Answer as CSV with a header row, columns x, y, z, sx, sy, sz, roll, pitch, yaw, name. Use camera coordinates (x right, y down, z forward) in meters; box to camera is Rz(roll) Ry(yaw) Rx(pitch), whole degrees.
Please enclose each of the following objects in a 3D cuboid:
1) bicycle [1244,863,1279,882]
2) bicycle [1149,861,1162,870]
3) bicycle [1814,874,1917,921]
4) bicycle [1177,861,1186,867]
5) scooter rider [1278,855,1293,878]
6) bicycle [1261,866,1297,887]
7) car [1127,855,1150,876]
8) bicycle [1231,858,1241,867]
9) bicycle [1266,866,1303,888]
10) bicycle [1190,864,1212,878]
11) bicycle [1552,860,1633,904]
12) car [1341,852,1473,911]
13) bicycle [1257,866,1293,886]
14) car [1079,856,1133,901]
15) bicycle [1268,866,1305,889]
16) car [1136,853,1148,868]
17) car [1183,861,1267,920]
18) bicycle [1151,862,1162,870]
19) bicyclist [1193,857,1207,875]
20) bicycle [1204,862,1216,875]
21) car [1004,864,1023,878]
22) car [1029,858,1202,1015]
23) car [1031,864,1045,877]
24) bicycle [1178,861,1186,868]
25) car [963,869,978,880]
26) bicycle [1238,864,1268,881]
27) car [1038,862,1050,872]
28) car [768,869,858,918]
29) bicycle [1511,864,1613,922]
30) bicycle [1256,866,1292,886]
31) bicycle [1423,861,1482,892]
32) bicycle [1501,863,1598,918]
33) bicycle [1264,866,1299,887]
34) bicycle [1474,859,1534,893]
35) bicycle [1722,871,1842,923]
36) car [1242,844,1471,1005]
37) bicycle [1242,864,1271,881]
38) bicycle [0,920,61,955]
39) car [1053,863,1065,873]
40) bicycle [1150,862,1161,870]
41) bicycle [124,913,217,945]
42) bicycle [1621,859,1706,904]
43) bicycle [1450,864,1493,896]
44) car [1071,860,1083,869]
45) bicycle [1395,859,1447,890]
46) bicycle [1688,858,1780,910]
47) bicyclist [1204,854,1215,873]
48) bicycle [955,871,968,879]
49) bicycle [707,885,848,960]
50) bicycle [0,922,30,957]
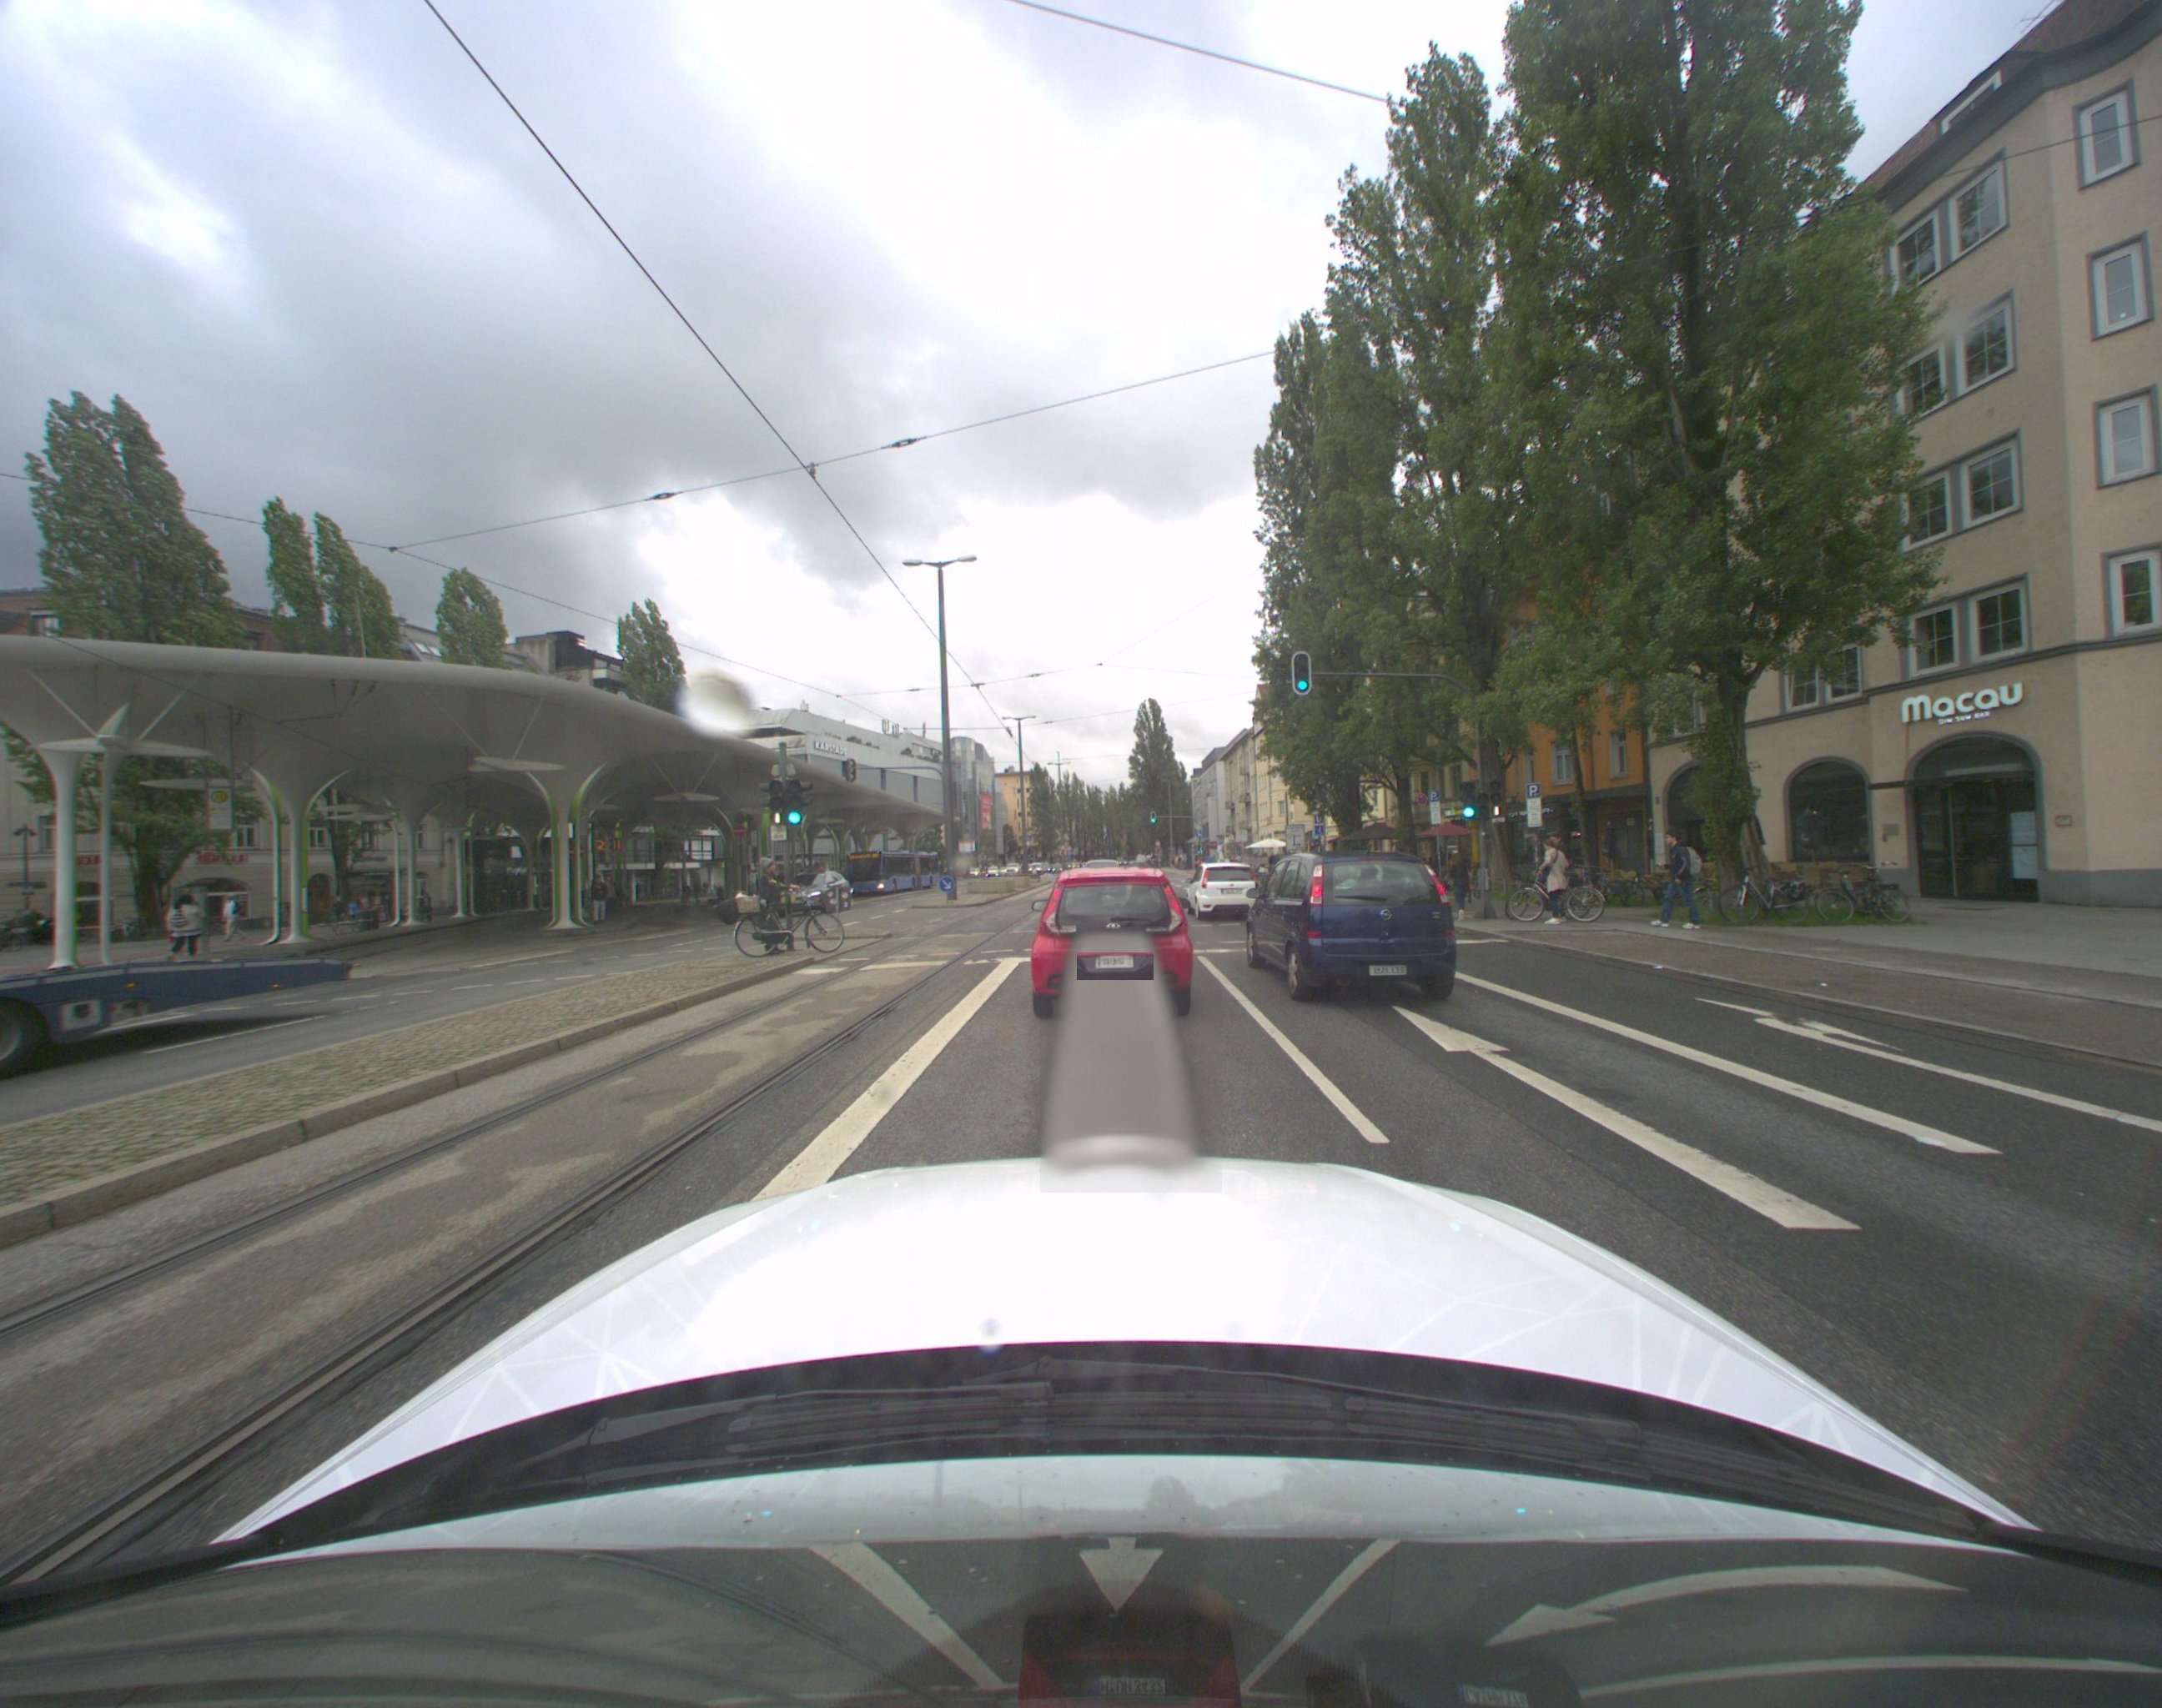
x,y,z,sx,sy,sz,roll,pitch,yaw,name
10.075,1.039,45.427,1.819,0.995,0.377,-1,1,26,bicycle
10.043,1.556,109.410,0.562,1.198,1.782,-2,-1,-45,bicycle
14.825,0.816,15.399,1.567,0.835,0.392,-1,-1,-1,bicycle
14.975,1.486,121.076,1.177,0.963,0.369,-3,-1,0,bicycle
12.345,0.757,49.141,0.698,1.389,0.643,-3,-1,0,scooter rider
9.793,1.101,40.299,0.377,0.995,1.819,-2,1,-43,bicycle
5.499,1.082,78.817,1.986,1.838,4.002,-3,0,2,car
18.852,1.054,99.032,0.495,1.059,1.858,-2,0,-13,bicycle
9.694,1.091,38.842,0.377,0.995,1.821,-2,1,-37,bicycle
11.694,1.662,79.261,0.618,1.265,2.495,-2,0,-30,bicycle
13.235,0.712,21.084,1.789,1.109,0.447,0,-1,3,bicycle
9.374,0.749,23.875,1.987,1.440,4.528,-4,0,0,car
9.782,1.107,41.049,1.819,0.995,0.377,-1,1,44,bicycle
1.017,0.960,33.121,1.986,1.618,4.001,-3,0,2,car
9.625,1.086,38.202,0.377,0.995,1.821,-2,1,-37,bicycle
11.651,1.144,155.193,2.098,2.718,4.807,-3,0,2,car
3.775,0.917,21.852,1.693,1.426,3.498,-1,0,2,car
9.983,1.631,107.893,0.502,1.028,1.582,-2,-1,-40,bicycle
11.588,1.189,79.401,0.618,1.657,1.239,-2,-1,-30,bicyclist
13.031,1.456,82.413,0.612,1.265,2.516,-3,0,-3,bicycle
-9.797,2.463,118.198,2.168,1.887,6.155,-3,0,0,car
0.407,0.778,9.150,1.598,1.461,3.132,0,0,3,car
-6.369,2.399,119.912,1.780,1.855,4.217,-4,-1,-1,car
14.960,1.500,120.533,1.175,0.963,0.370,-3,-1,6,bicycle
-16.501,3.049,121.216,1.994,1.536,4.399,-3,0,-10,car
9.975,1.072,47.226,1.819,0.995,0.327,-1,1,44,bicycle
-5.955,2.128,133.131,1.672,1.395,4.232,-4,0,0,car
-10.536,1.493,32.450,1.856,1.638,4.678,-4,-1,1,car
9.761,0.796,16.581,0.361,1.102,1.724,-2,-1,-42,bicycle
9.867,1.112,41.729,1.818,0.995,0.378,-1,1,40,bicycle
13.367,0.802,29.344,1.882,1.054,0.458,-2,-1,-1,bicycle
9.934,0.788,17.309,1.722,1.102,0.361,-3,-1,36,bicycle
9.744,1.096,39.605,0.377,0.995,1.821,-2,1,-37,bicycle
15.231,0.790,29.345,1.882,1.113,0.458,-2,-1,-1,bicycle
13.133,0.806,15.277,1.825,0.917,0.392,-1,-1,3,bicycle
3.092,0.714,9.907,1.696,1.589,3.558,-1,0,2,car
10.245,1.072,47.513,0.327,0.995,1.820,-2,1,-41,bicycle
-53.750,4.226,40.995,3.600,1.613,1.001,-2,-1,1,bicycle
-3.378,2.102,123.092,1.539,1.445,3.541,-3,0,2,car
9.940,1.636,108.751,0.502,1.028,1.582,-2,-1,-40,bicycle
-45.767,3.745,40.992,0.831,1.314,2.959,-3,-1,26,bicycle
15.045,0.700,21.054,1.789,1.109,0.447,-2,-1,3,bicycle
12.440,0.817,25.992,0.587,0.965,1.654,-2,-1,2,bicycle
-0.726,2.228,168.843,1.733,1.670,4.743,-3,0,8,car
14.171,0.846,33.943,1.879,1.174,0.582,-2,-1,3,bicycle
13.864,0.632,17.298,1.565,1.050,0.392,-1,-1,2,bicycle
13.020,0.917,82.521,0.761,1.870,1.131,-3,0,-3,bicyclist
-16.482,2.886,112.375,1.566,1.112,0.374,-2,-1,5,bicycle
-5.242,1.152,14.127,2.237,1.150,0.502,-1,-2,-28,bicycle
-53.749,4.217,39.765,3.600,1.613,1.001,-2,-1,1,bicycle
